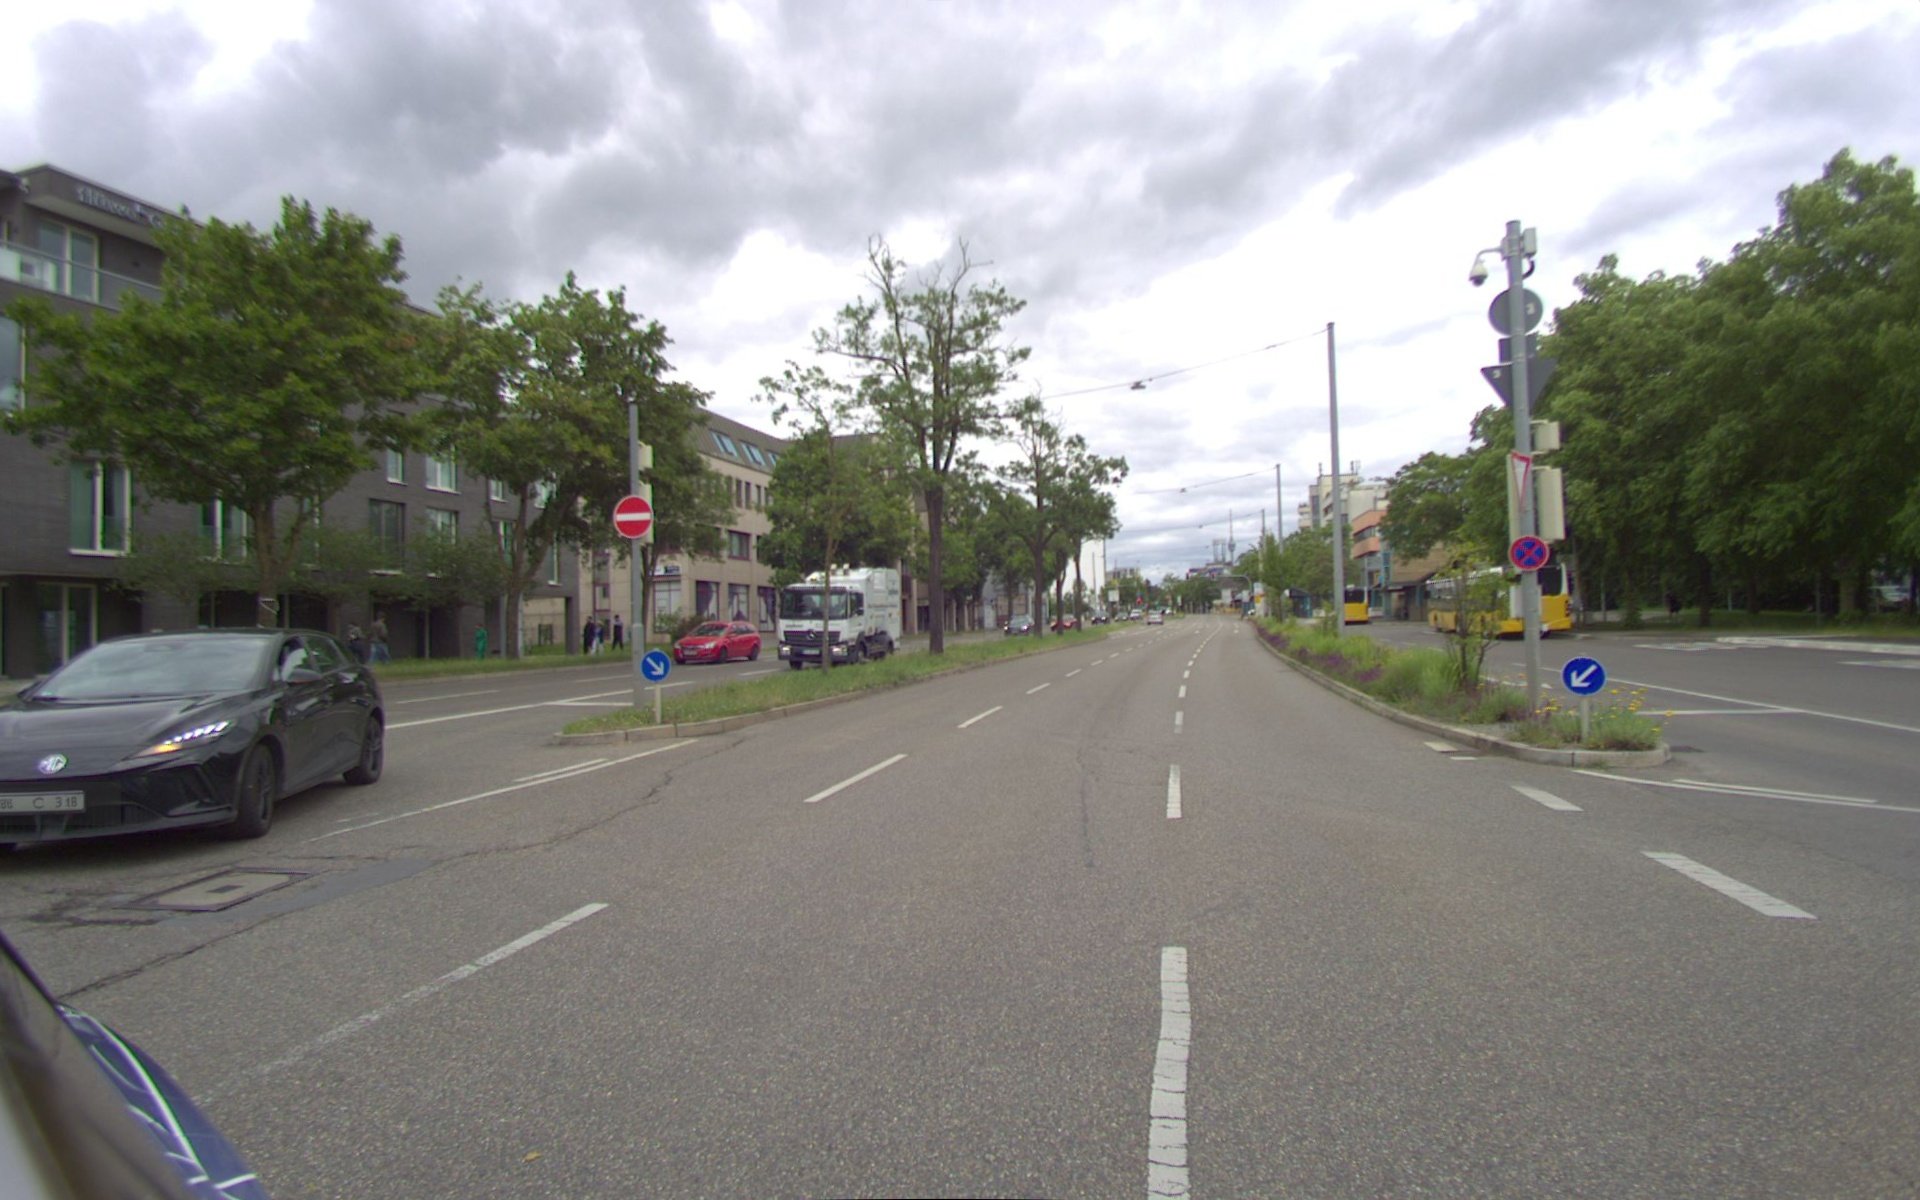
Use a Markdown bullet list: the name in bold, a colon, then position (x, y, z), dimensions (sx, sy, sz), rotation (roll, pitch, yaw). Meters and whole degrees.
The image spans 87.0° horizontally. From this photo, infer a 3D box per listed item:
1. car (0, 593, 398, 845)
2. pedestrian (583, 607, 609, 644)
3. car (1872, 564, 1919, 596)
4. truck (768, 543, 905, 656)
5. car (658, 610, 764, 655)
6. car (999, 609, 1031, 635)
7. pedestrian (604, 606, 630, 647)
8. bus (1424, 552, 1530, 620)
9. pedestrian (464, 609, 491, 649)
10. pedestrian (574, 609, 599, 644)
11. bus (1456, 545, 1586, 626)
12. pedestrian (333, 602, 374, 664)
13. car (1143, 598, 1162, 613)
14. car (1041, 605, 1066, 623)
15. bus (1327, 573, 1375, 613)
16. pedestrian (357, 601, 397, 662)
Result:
- **car**: position (-6.017, 0.742, 7.993), dimensions (1.771, 1.495, 4.030), rotation (1, -1, -14)
- **pedestrian**: position (-14.699, 1.029, 40.856), dimensions (0.687, 1.444, 0.595), rotation (-3, 0, 14)
- **car**: position (62.154, -1.346, 66.944), dimensions (1.995, 1.953, 4.538), rotation (-3, 0, 35)
- **truck**: position (-3.732, 0.037, 32.249), dimensions (2.412, 3.219, 6.441), rotation (0, -1, 12)
- **car**: position (-8.707, 1.117, 35.793), dimensions (1.979, 1.434, 4.340), rotation (-1, -1, 12)
- **car**: position (4.220, 1.662, 77.061), dimensions (1.977, 1.707, 4.591), rotation (-3, 0, 9)
- **pedestrian**: position (-13.922, 1.070, 41.093), dimensions (0.687, 1.632, 0.595), rotation (-3, 0, 14)
- **bus**: position (26.576, -0.714, 52.550), dimensions (3.027, 3.031, 9.644), rotation (-3, 0, 16)
- **pedestrian**: position (-17.017, 1.009, 35.664), dimensions (0.529, 1.367, 0.657), rotation (-3, 0, 7)
- **pedestrian**: position (-15.281, 1.077, 41.405), dimensions (0.687, 1.401, 0.595), rotation (-3, 0, 14)
- **bus**: position (24.042, -0.608, 43.901), dimensions (3.027, 3.031, 8.384), rotation (-3, 0, 16)
- **pedestrian**: position (-17.938, 0.976, 29.923), dimensions (0.686, 1.759, 0.696), rotation (-3, 0, 9)
- **car**: position (22.917, 0.650, 120.260), dimensions (1.735, 1.540, 3.729), rotation (-3, 0, 17)
- **car**: position (8.778, 1.324, 94.482), dimensions (1.807, 1.497, 4.361), rotation (-4, -3, 11)
- **bus**: position (33.258, -0.600, 86.382), dimensions (3.270, 3.031, 10.167), rotation (-3, 0, 19)
- **pedestrian**: position (-17.199, 0.918, 29.876), dimensions (0.686, 1.759, 0.647), rotation (-3, 0, 9)
